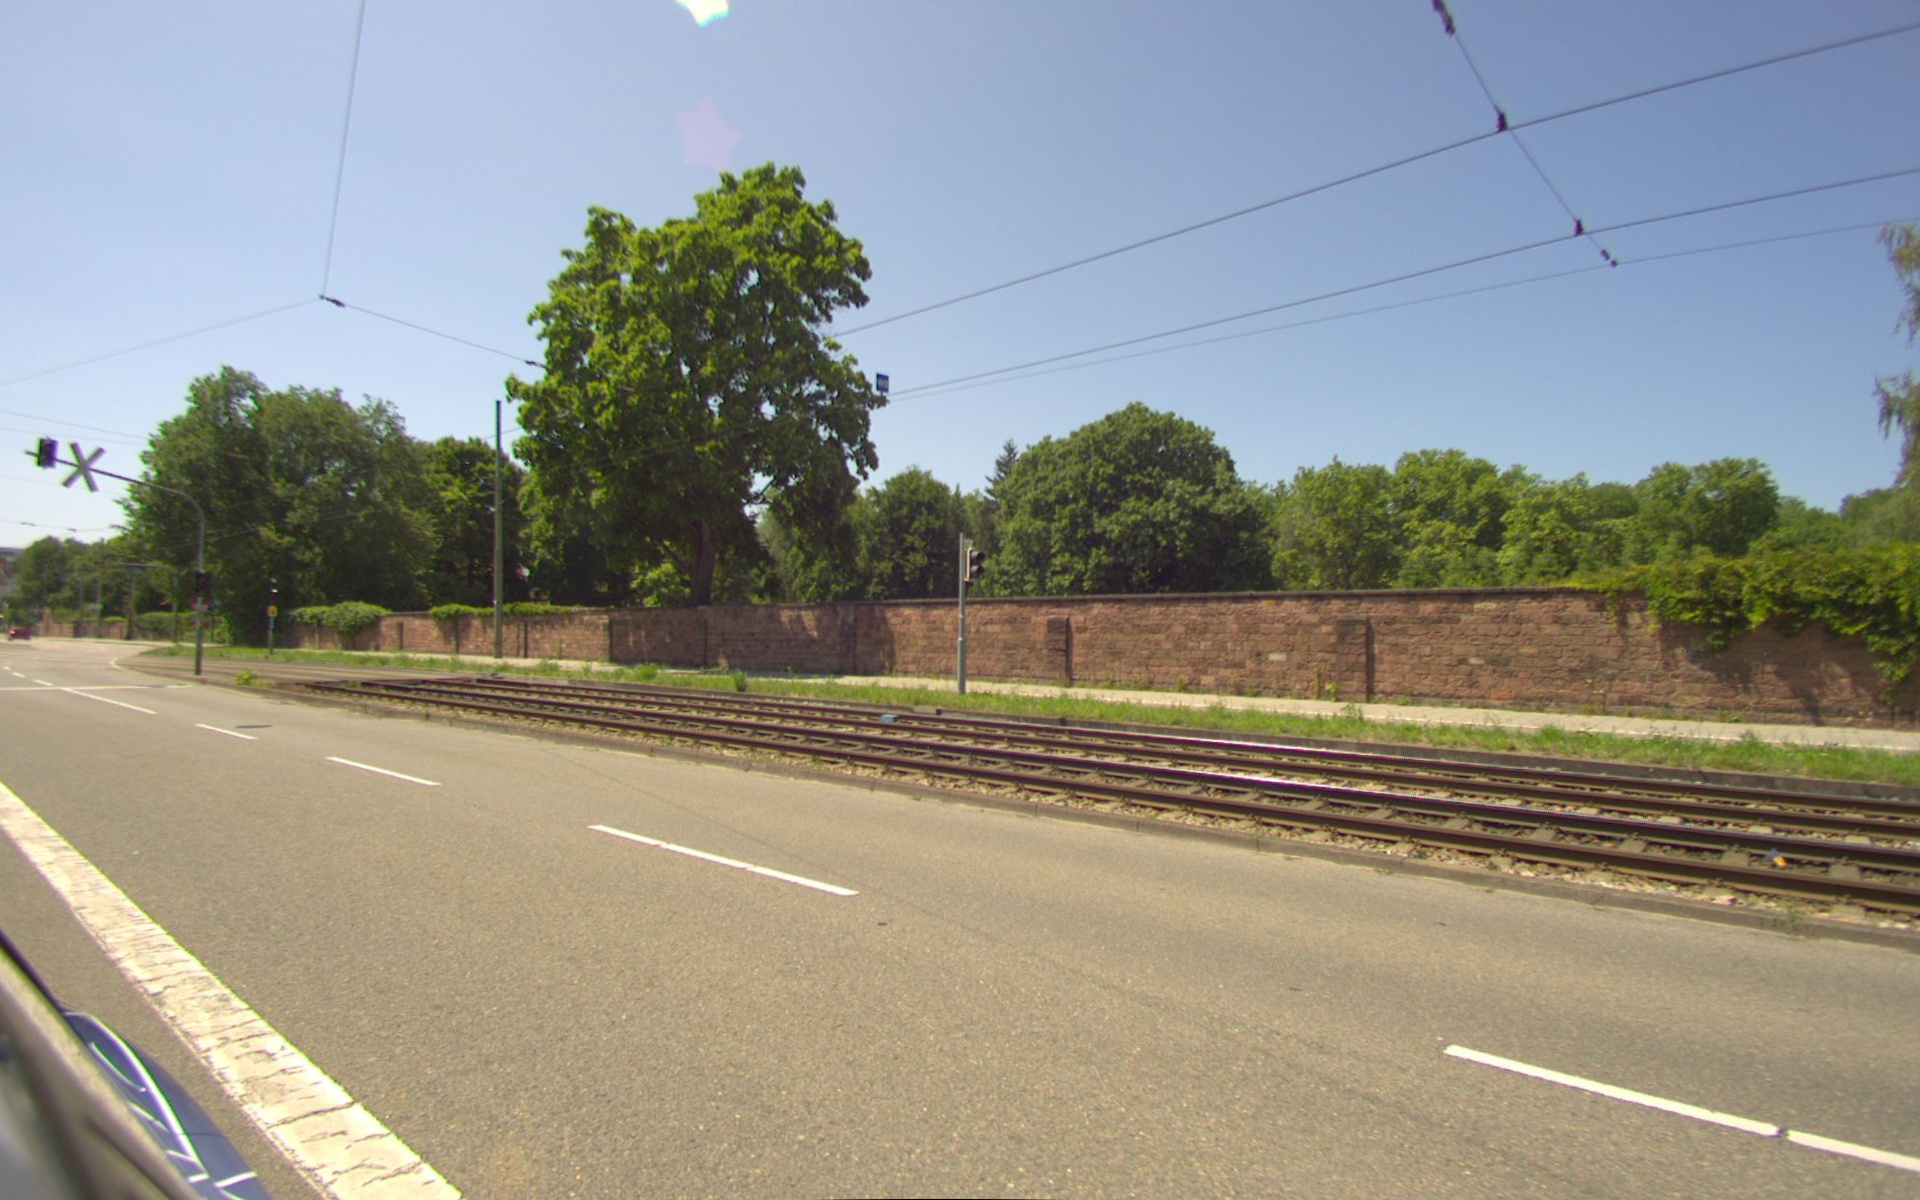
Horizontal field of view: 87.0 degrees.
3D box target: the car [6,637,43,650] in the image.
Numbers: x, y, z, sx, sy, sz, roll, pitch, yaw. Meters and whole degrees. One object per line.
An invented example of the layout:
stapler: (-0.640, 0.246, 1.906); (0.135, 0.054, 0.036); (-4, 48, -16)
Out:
car: (-103.913, 4.816, 112.463); (1.682, 1.425, 4.295); (0, -2, -23)
